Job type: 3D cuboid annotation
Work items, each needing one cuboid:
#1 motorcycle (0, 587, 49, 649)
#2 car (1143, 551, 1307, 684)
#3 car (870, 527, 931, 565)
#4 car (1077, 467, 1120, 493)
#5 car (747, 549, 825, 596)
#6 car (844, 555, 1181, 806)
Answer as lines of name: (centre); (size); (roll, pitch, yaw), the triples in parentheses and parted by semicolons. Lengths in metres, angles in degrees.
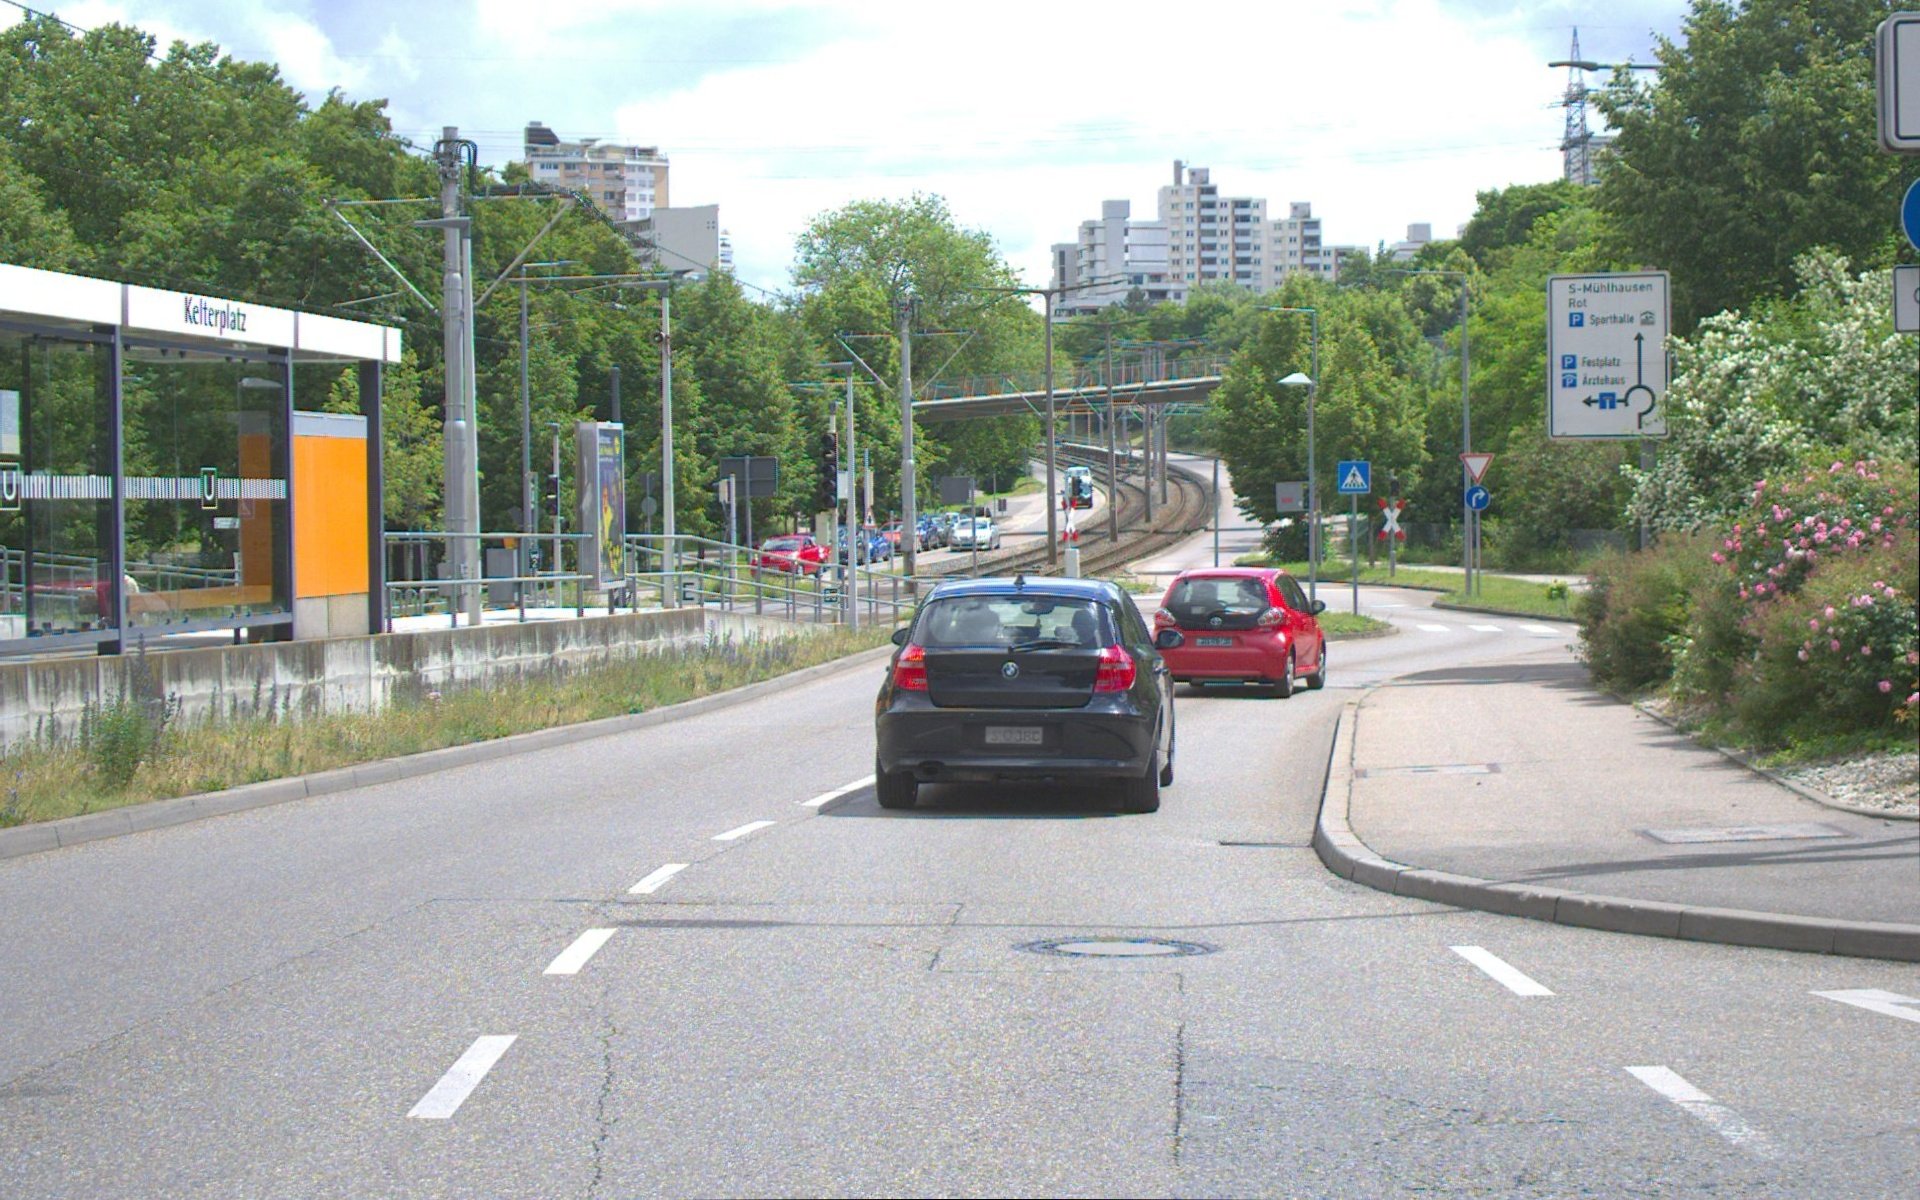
motorcycle: (-17.448, 0.328, 62.443); (0.730, 1.077, 2.214); (-1, 1, 15)
car: (3.043, 0.182, 39.698); (1.766, 1.427, 3.478); (-1, 0, 4)
car: (-2.561, -2.350, 149.097); (1.913, 1.556, 3.999); (-1, 1, 10)
car: (8.804, -7.605, 218.628); (1.994, 1.592, 4.417); (-1, 1, 12)
car: (-5.811, -0.932, 115.049); (1.721, 1.498, 2.964); (0, 1, 16)
car: (0.428, 0.472, 21.922); (1.815, 1.416, 3.999); (-1, 0, 5)
